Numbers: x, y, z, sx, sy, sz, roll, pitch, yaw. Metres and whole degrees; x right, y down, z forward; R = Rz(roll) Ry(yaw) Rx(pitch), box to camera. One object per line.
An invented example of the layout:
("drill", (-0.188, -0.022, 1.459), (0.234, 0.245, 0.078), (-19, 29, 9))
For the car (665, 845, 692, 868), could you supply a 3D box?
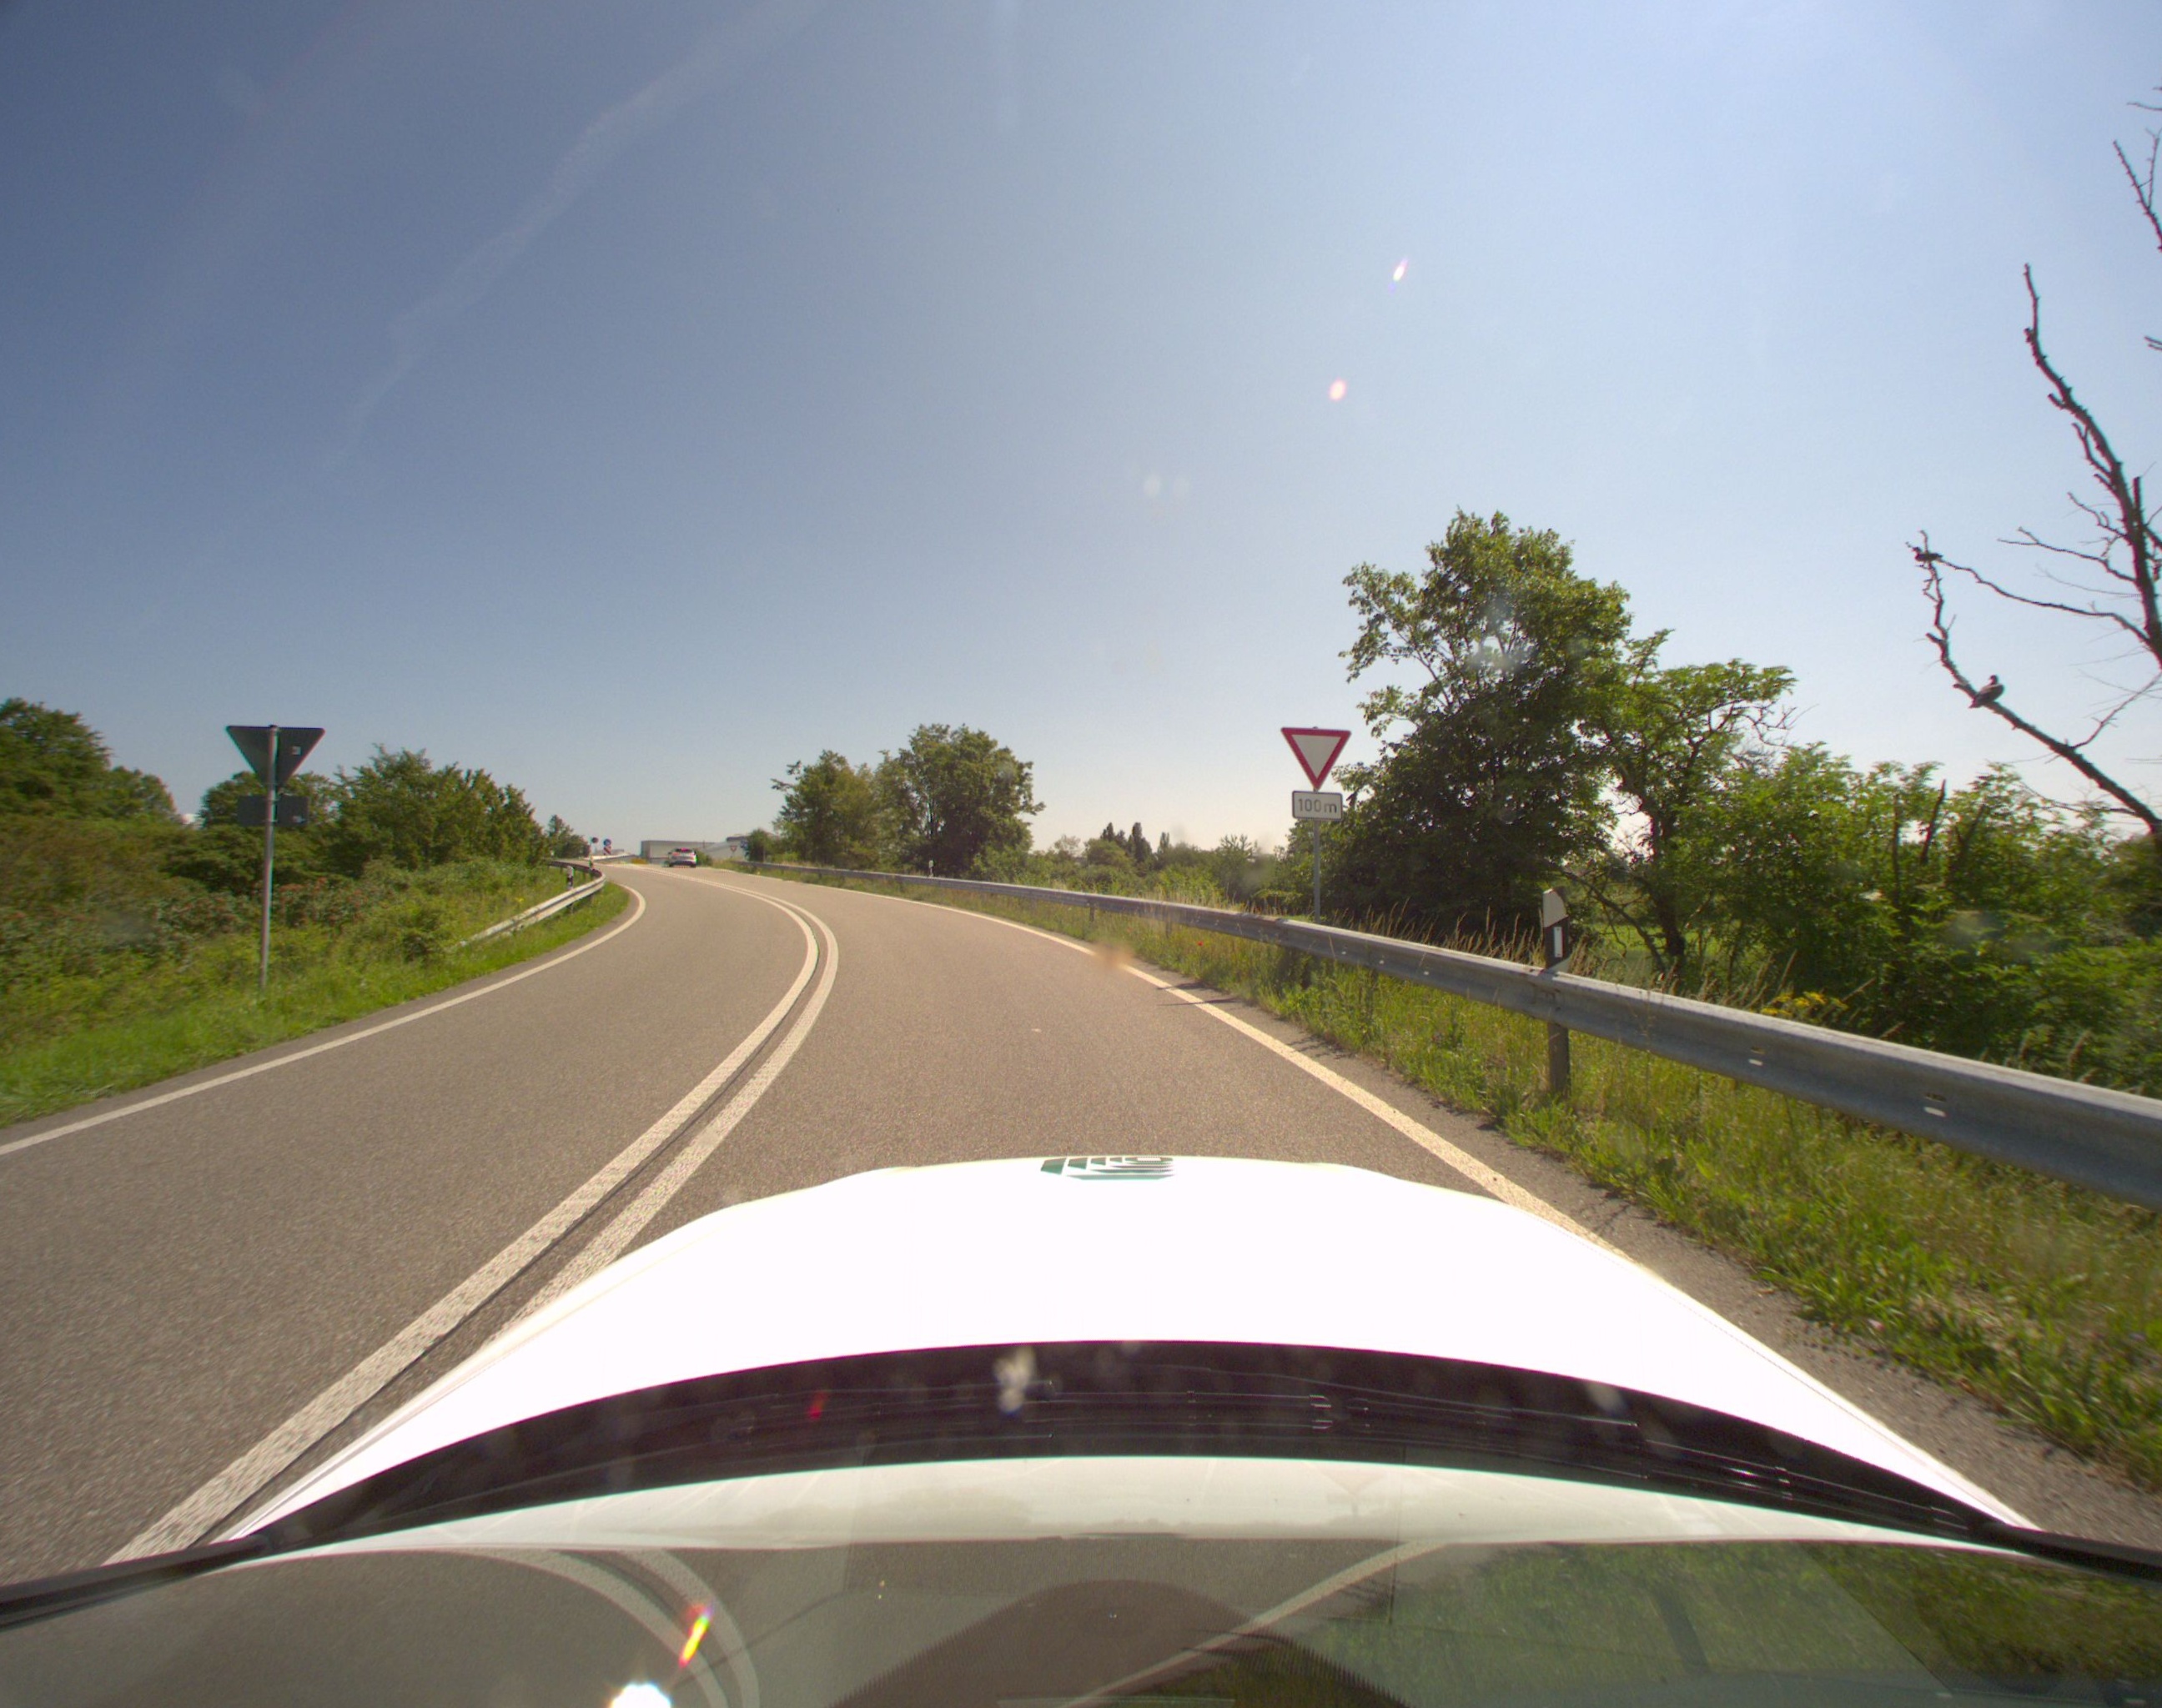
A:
("car", (-31.665, 0.194, 64.108), (1.818, 1.691, 3.965), (1, -2, -26))
